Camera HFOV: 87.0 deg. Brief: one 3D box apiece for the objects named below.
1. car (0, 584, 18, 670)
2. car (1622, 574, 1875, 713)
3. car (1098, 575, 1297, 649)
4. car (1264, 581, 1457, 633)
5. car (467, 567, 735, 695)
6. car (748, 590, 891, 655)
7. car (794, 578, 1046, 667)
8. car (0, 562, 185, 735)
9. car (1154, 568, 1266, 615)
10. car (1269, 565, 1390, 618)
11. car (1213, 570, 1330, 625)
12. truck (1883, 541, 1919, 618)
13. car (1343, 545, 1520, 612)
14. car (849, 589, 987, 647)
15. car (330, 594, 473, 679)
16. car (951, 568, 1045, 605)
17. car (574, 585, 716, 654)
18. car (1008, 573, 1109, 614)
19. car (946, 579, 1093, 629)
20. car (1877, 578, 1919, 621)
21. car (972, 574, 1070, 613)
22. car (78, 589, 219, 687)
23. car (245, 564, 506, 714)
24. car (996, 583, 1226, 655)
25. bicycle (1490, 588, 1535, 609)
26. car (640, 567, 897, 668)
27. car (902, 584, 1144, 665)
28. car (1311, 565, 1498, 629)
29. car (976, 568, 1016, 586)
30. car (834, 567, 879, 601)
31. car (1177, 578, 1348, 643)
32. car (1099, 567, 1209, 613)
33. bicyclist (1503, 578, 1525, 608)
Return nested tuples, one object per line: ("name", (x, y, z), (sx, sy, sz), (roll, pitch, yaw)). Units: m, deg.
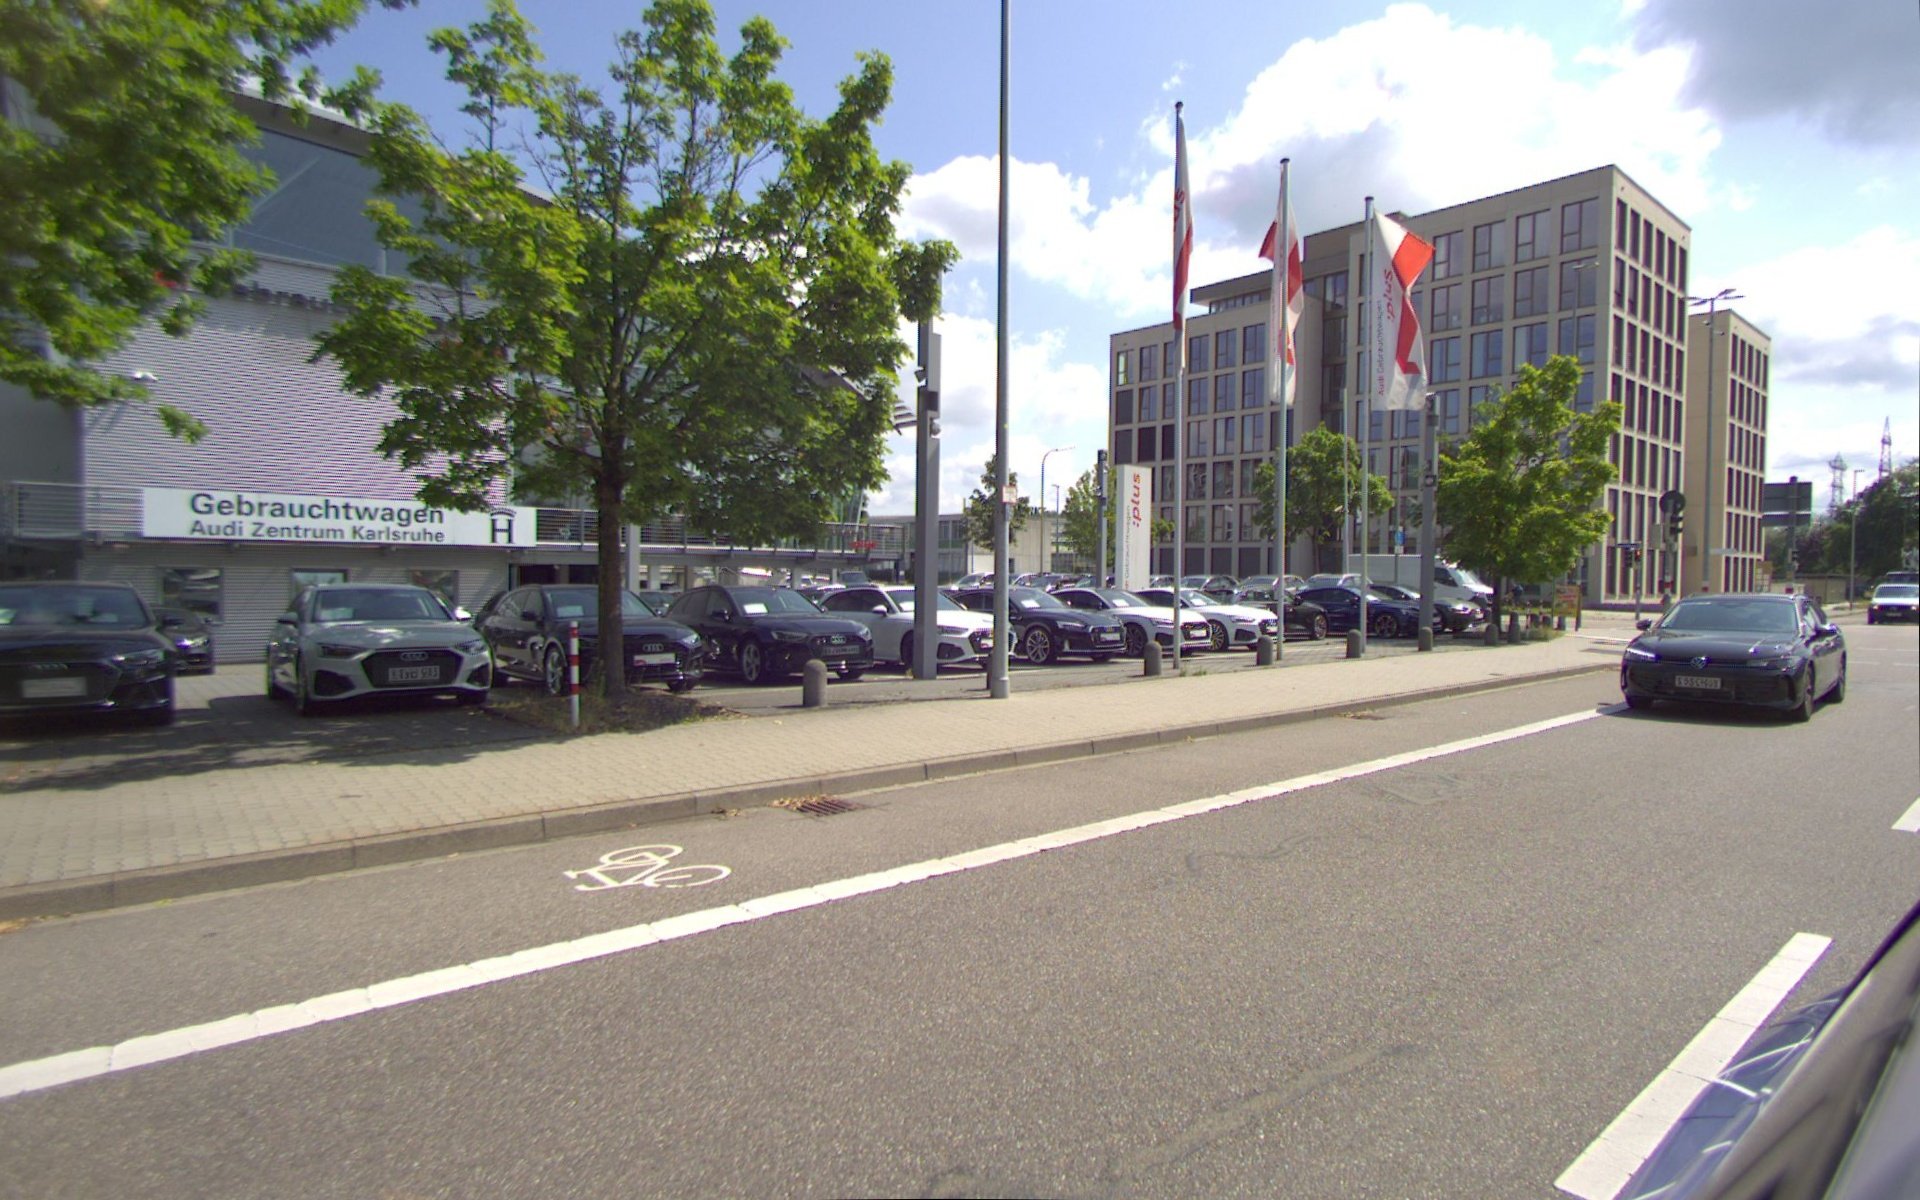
("car", (-17.704, 0.523, 17.174), (1.871, 1.517, 4.362), (-1, 2, -35))
("car", (10.539, 0.472, 13.362), (5.115, 1.496, 1.811), (1, 1, -43))
("car", (5.161, 0.274, 22.384), (1.764, 1.483, 3.993), (-1, -1, -40))
("car", (10.898, 0.169, 27.808), (1.873, 1.314, 4.583), (2, 0, -40))
("car", (-4.930, 0.394, 13.485), (1.873, 1.402, 4.582), (2, -2, -40))
("car", (-3.921, 0.539, 27.701), (1.874, 1.517, 4.355), (-1, 2, -40))
("car", (-0.824, 0.322, 17.268), (1.873, 1.314, 4.583), (2, 0, -40))
("car", (-9.209, 0.421, 10.288), (1.873, 1.423, 4.583), (2, -1, -40))
("car", (9.760, -0.310, 39.390), (4.507, 1.699, 1.905), (2, 0, -39))
("car", (12.841, -0.256, 35.033), (4.507, 1.699, 1.905), (2, 0, -39))
("car", (11.475, -0.141, 37.144), (4.510, 1.698, 1.905), (-4, 3, -39))
("truck", (48.969, -0.888, 51.155), (9.617, 3.600, 2.669), (2, -1, -43))
("car", (20.254, -0.891, 43.909), (2.098, 2.640, 6.866), (2, 0, -33))
("car", (-1.331, 0.472, 30.314), (1.874, 1.517, 4.355), (-1, 2, -40))
("car", (-12.073, 0.689, 21.742), (1.874, 1.517, 4.355), (-1, 2, -40))
("car", (1.902, -0.645, 49.725), (4.507, 1.699, 1.905), (2, 0, -39))
("car", (-8.029, 0.414, 25.550), (1.874, 1.517, 4.355), (-1, 2, -40))
("car", (4.469, -0.263, 45.737), (4.507, 1.699, 1.905), (2, 0, -39))
("car", (2.002, 0.117, 33.116), (4.671, 1.530, 1.982), (-1, -1, -40))
("car", (43.303, -0.004, 46.037), (4.908, 1.861, 1.995), (2, 0, -44))
("car", (2.901, -0.280, 47.793), (4.507, 1.699, 1.905), (2, 0, -39))
("car", (-15.286, 0.607, 19.035), (1.874, 1.517, 4.355), (-1, 2, -40))
("car", (-7.059, 0.459, 11.976), (1.873, 1.423, 4.582), (2, -3, -40))
("car", (2.981, 0.331, 20.802), (1.873, 1.314, 4.583), (2, 0, -40))
("bicycle", (28.258, -0.092, 51.765), (1.967, 1.024, 0.640), (1, -1, 38))
("car", (-3.082, 0.339, 15.519), (1.873, 1.314, 4.581), (2, -3, -40))
("car", (1.044, 0.386, 18.914), (1.873, 1.314, 4.583), (2, 0, -40))
("car", (12.722, -0.089, 29.192), (1.873, 1.699, 4.583), (2, 0, -40))
("car", (3.767, -2.381, 105.128), (1.965, 1.705, 3.994), (2, 0, -41))
("car", (-5.609, -0.820, 54.238), (1.867, 1.699, 4.598), (1, 0, -12))
("car", (7.663, 0.236, 25.407), (4.671, 1.483, 1.793), (-1, -1, -40))
("car", (7.932, -0.388, 41.175), (4.507, 1.699, 1.905), (2, 0, -39))
("bicyclist", (28.318, -0.370, 51.731), (0.910, 1.496, 0.629), (1, -1, 37))
